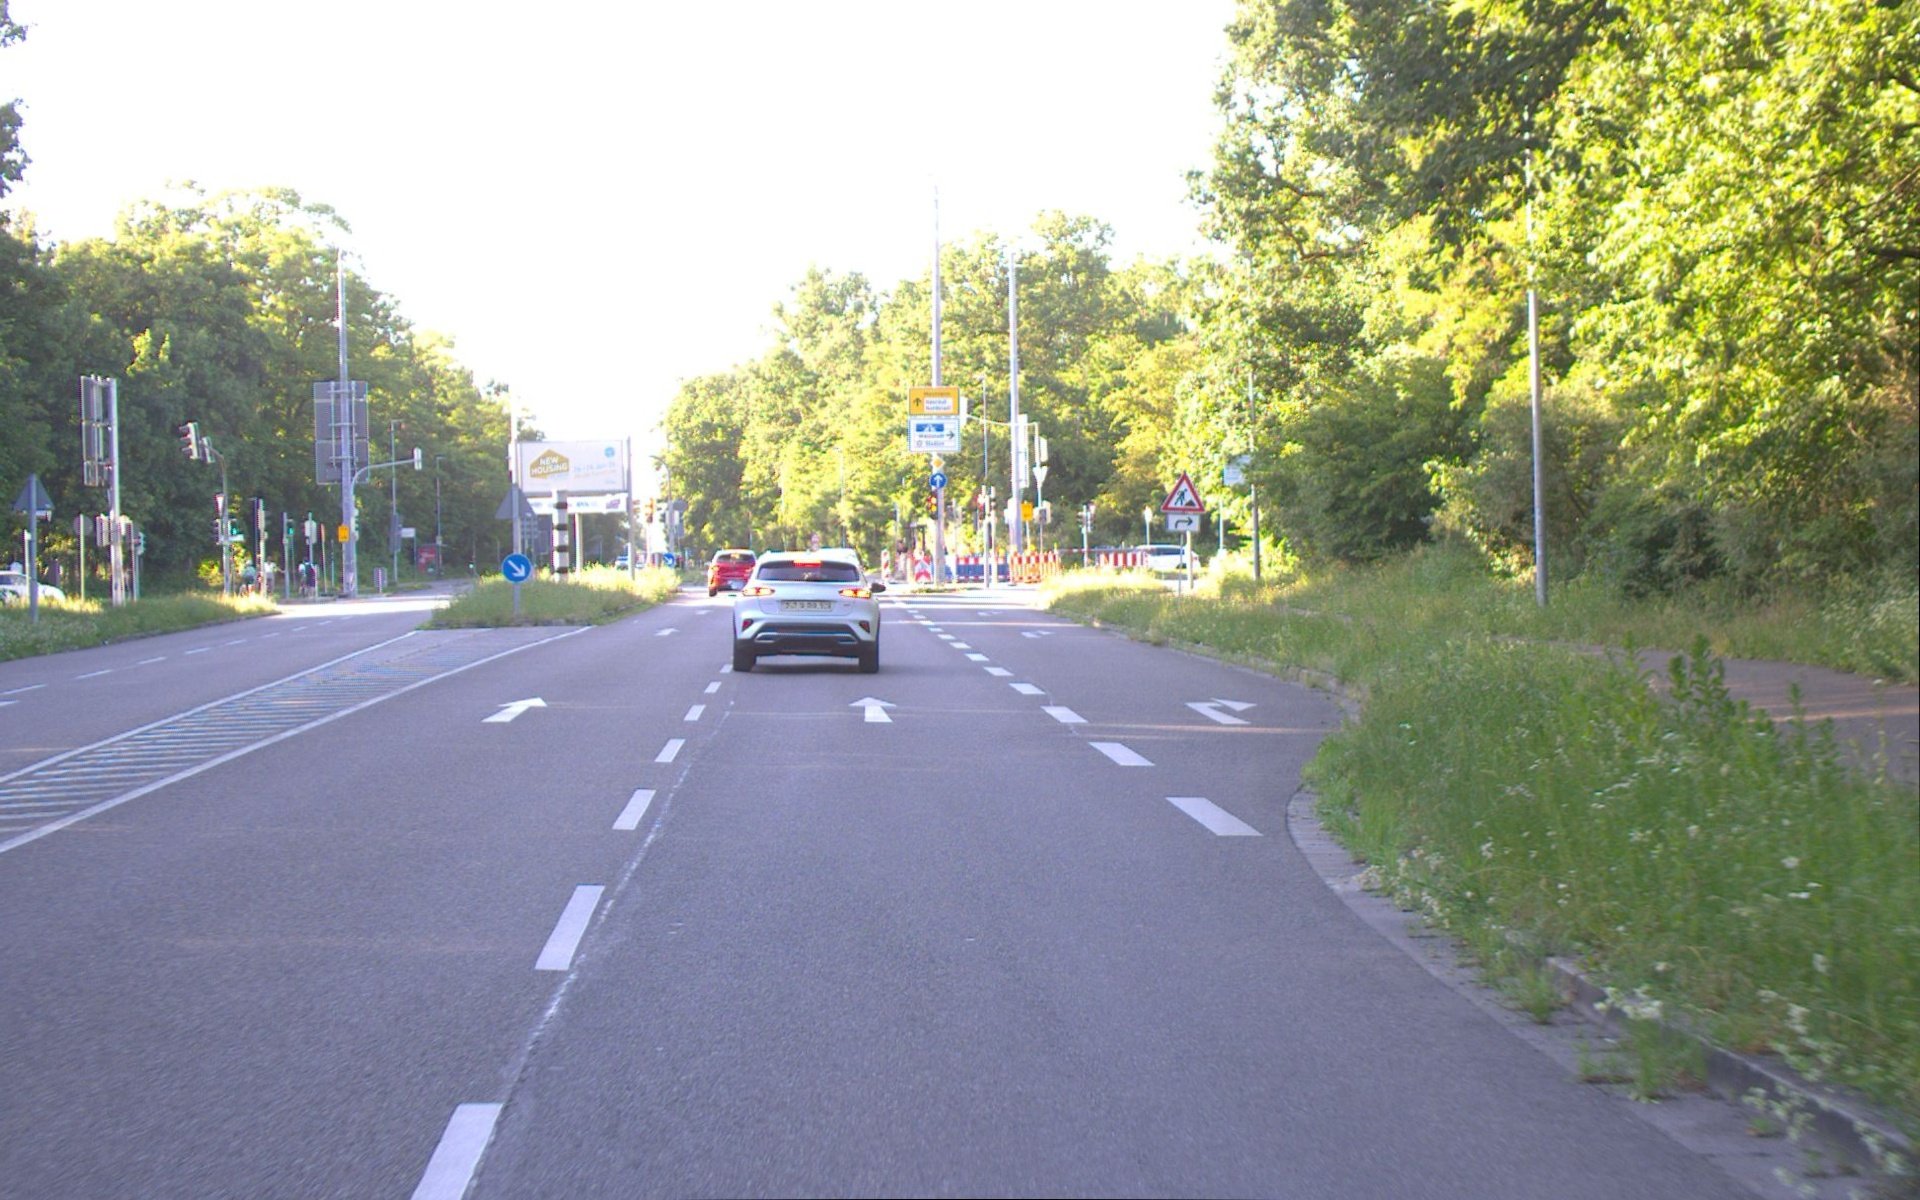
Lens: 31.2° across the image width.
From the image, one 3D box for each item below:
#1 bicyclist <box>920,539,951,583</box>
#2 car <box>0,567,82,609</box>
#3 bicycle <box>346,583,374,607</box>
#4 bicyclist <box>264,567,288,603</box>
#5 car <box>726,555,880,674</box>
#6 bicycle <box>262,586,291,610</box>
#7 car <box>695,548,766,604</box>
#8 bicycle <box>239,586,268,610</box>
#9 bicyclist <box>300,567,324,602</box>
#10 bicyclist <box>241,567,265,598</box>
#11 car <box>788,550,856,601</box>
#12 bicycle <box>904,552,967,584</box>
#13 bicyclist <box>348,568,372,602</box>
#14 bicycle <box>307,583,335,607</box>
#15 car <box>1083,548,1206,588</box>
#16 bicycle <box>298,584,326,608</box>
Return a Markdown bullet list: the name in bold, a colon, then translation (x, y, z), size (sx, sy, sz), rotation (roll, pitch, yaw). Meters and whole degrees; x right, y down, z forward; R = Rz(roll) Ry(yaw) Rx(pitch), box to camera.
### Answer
- **bicyclist**: translation (-1.080, -1.707, 150.473), size (1.013, 1.923, 0.968), rotation (0, 1, -34)
- **car**: translation (-32.237, -0.399, 117.876), size (3.787, 1.384, 1.929), rotation (-2, 1, -28)
- **bicycle**: translation (-23.610, -0.205, 135.259), size (0.715, 0.911, 1.911), rotation (-1, 1, 1)
- **bicyclist**: translation (-26.721, -0.571, 134.339), size (0.710, 1.385, 0.990), rotation (-1, 1, 1)
- **car**: translation (-1.997, 0.152, 43.702), size (1.863, 1.439, 4.000), rotation (0, 1, -3)
- **bicycle**: translation (-26.708, -0.092, 134.378), size (0.715, 0.911, 1.911), rotation (-1, 1, 1)
- **car**: translation (-7.279, -0.760, 108.634), size (1.993, 1.679, 4.001), rotation (-1, 1, -7)
- **bicycle**: translation (-27.620, -0.082, 134.421), size (0.715, 0.911, 1.911), rotation (-1, 1, 1)
- **bicyclist**: translation (-25.499, -0.597, 135.254), size (0.715, 1.351, 0.990), rotation (-1, 1, 1)
- **bicyclist**: translation (-27.633, -0.673, 134.415), size (0.715, 1.188, 0.990), rotation (-1, 1, 1)
- **car**: translation (-4.051, -0.732, 101.231), size (1.940, 1.409, 4.000), rotation (-1, 1, -2)
- **bicycle**: translation (-1.064, -1.412, 150.478), size (2.632, 1.378, 0.968), rotation (0, 1, -34)
- **bicyclist**: translation (-23.614, -0.598, 135.314), size (0.715, 1.334, 0.990), rotation (-1, 1, 1)
- **bicycle**: translation (-25.515, -0.195, 137.355), size (0.715, 0.911, 1.911), rotation (-1, 1, 1)
- **car**: translation (7.851, -1.357, 146.071), size (4.816, 1.575, 2.000), rotation (-1, 1, -24)
- **bicycle**: translation (-25.492, -0.164, 135.262), size (0.715, 0.911, 1.911), rotation (-1, 1, 1)
